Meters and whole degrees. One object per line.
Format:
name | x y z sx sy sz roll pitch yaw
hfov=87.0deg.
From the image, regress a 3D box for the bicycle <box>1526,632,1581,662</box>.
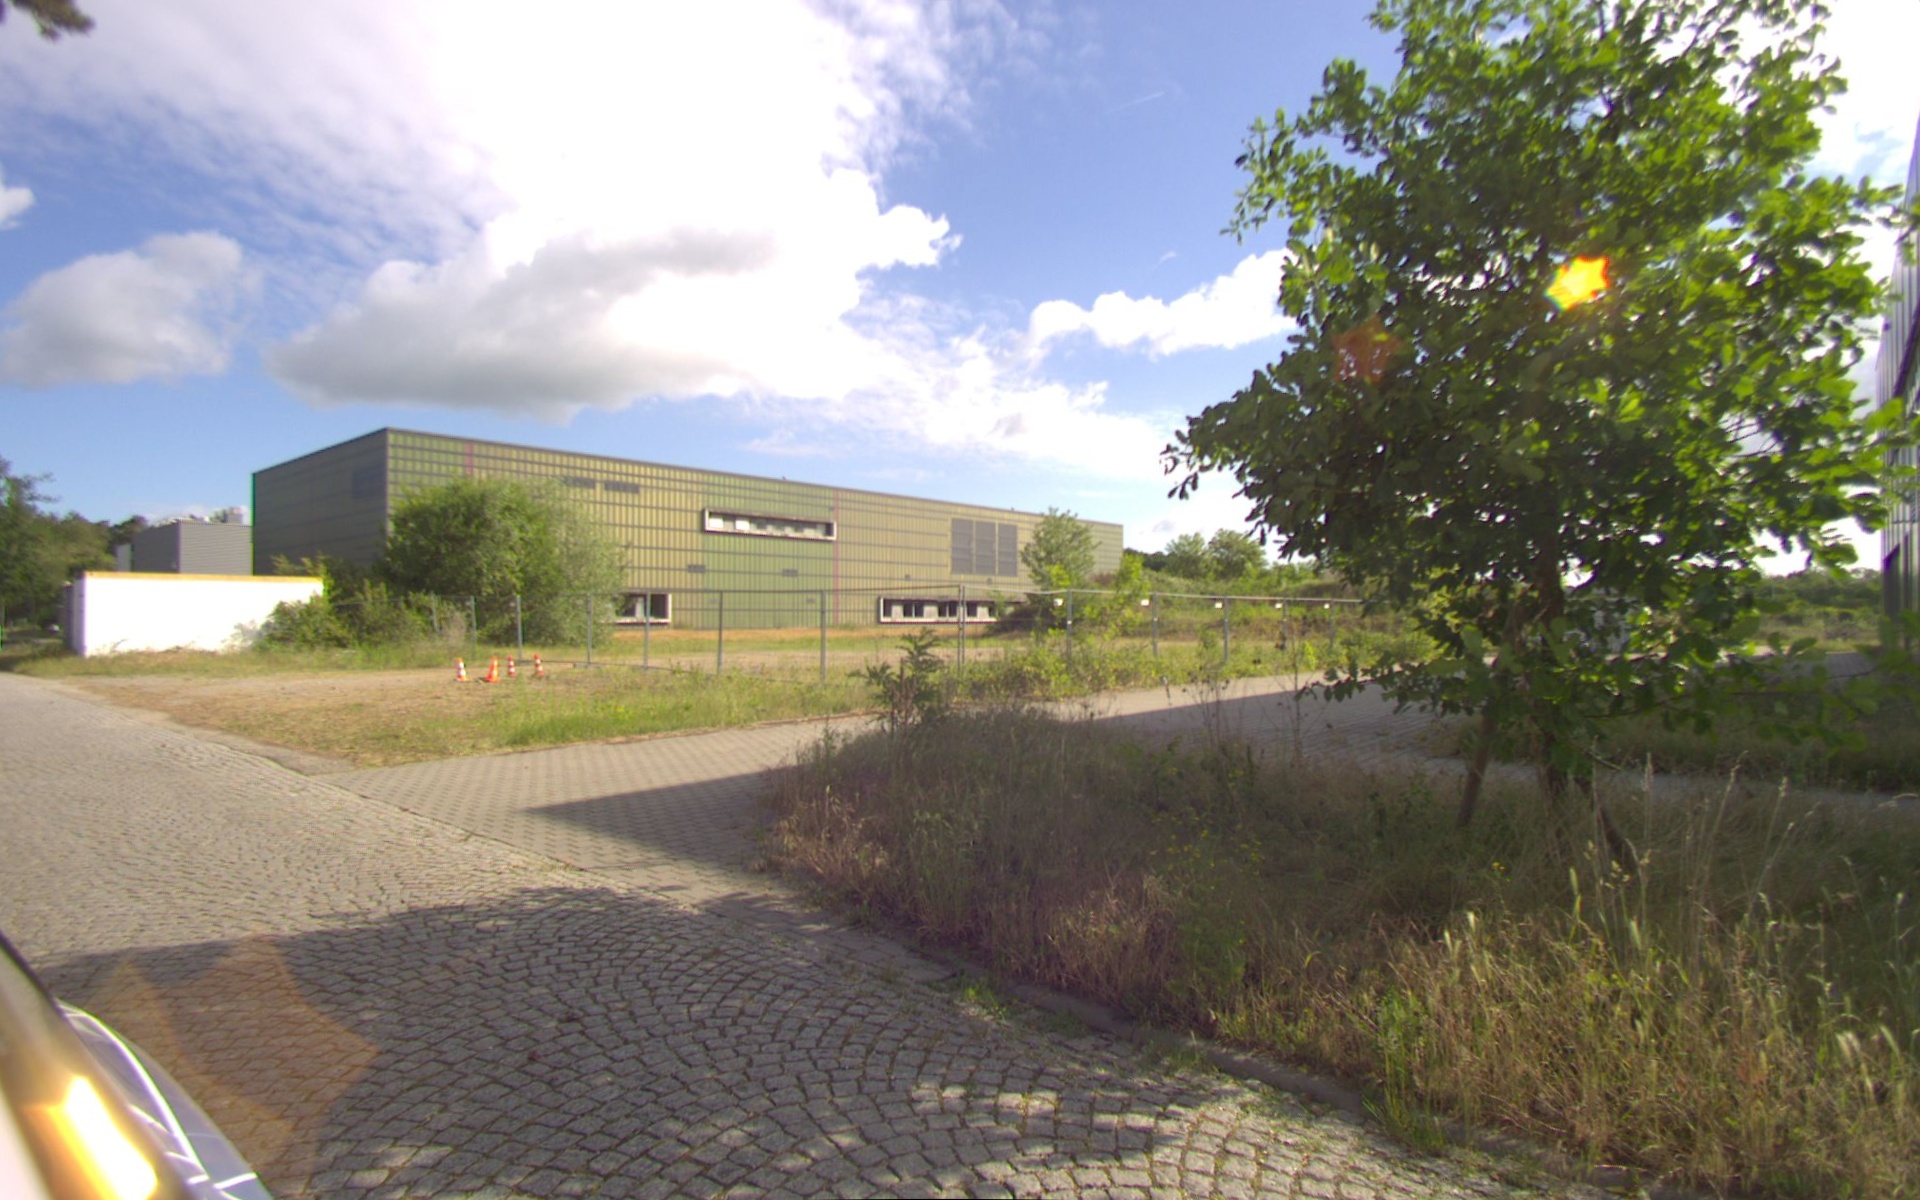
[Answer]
bicycle | 18.557 1.478 31.673 1.357 0.906 0.511 -4 -4 44
